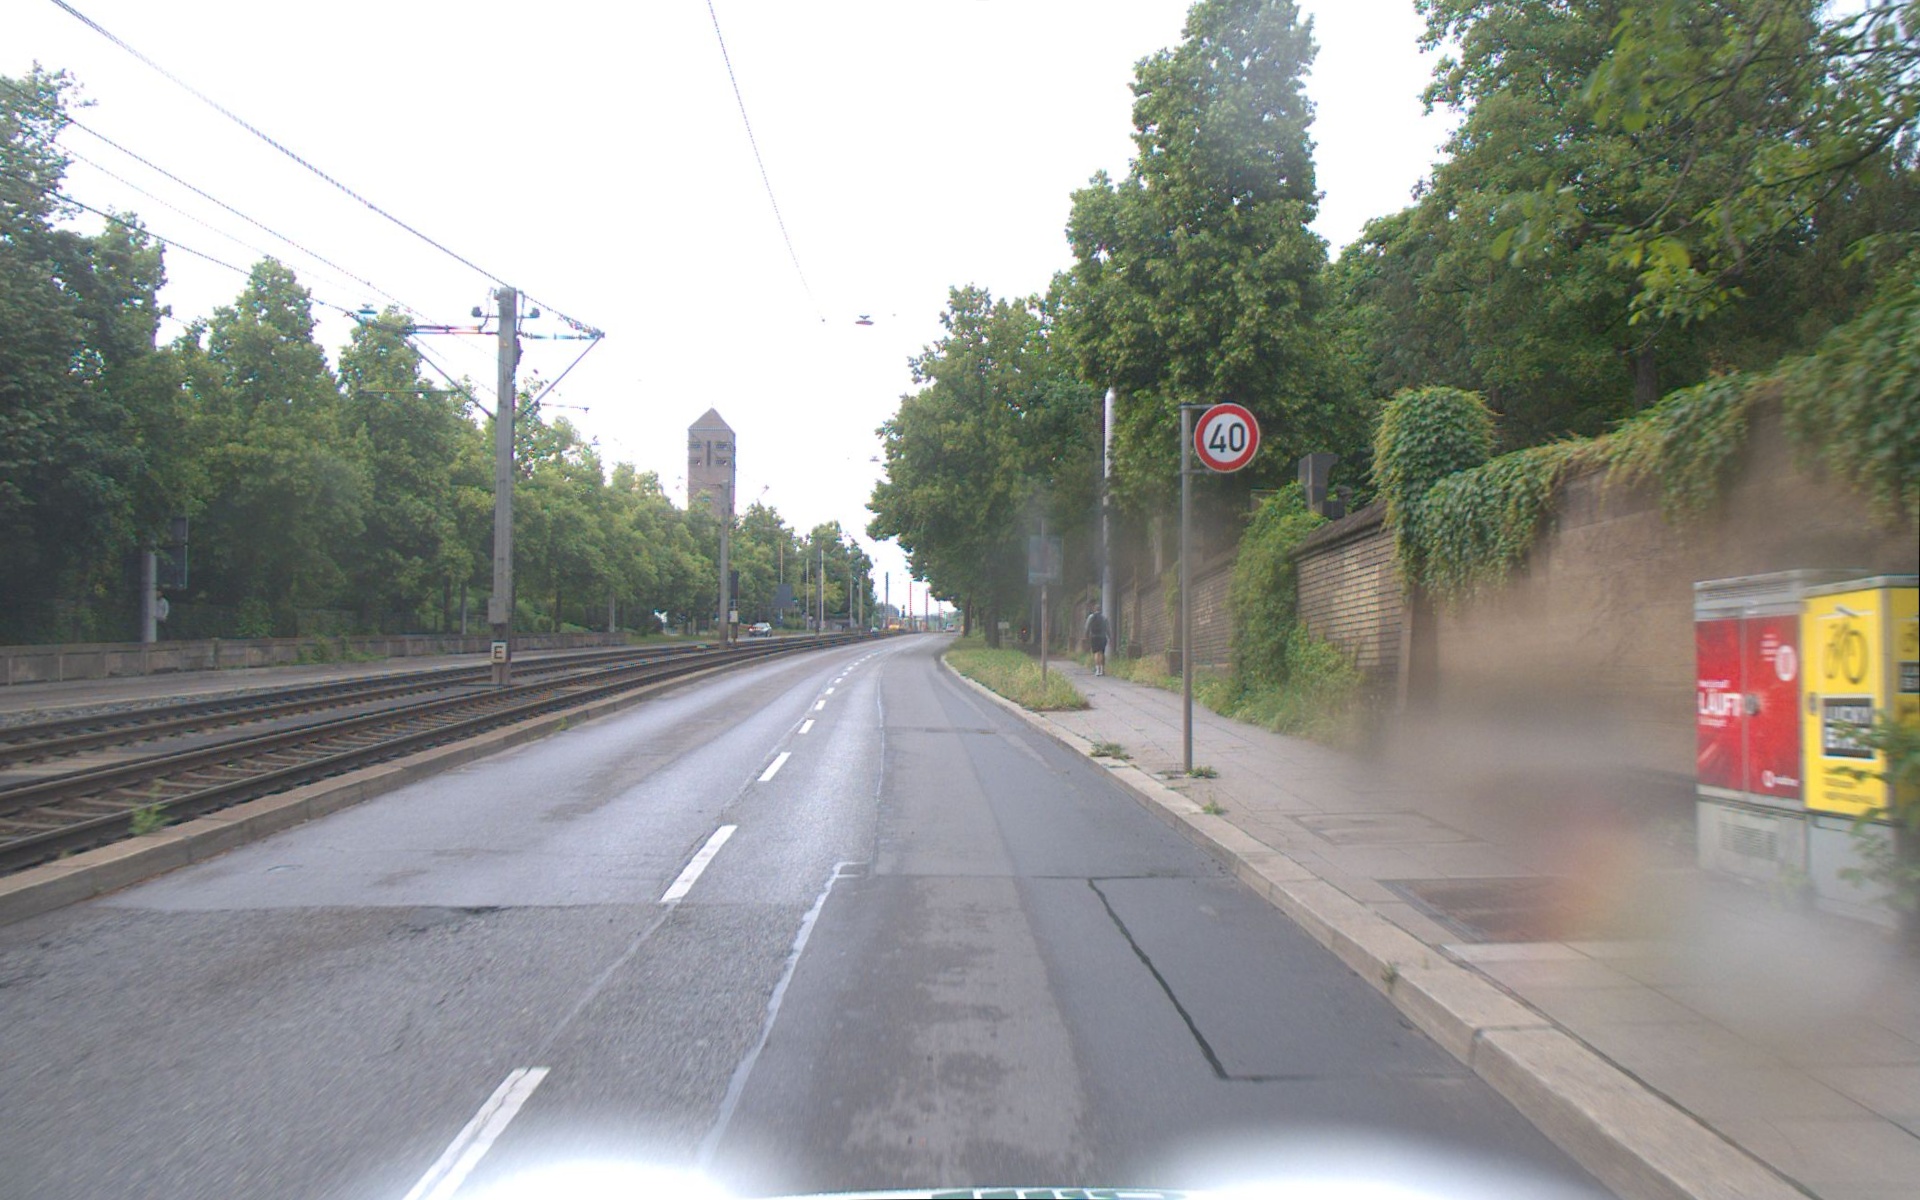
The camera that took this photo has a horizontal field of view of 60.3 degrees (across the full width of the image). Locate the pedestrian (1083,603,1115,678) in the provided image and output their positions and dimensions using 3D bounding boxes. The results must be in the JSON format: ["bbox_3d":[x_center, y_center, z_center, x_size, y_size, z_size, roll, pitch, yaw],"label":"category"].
[{"bbox_3d":[3.540,1.030,42.186,0.705,1.882,0.783,1,-1,0],"label":"pedestrian"}]

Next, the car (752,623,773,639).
[{"bbox_3d":[-20.470,3.218,171.730,1.757,1.537,3.848,0,0,0],"label":"car"}]

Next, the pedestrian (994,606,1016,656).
[{"bbox_3d":[1.570,1.079,57.690,0.705,1.717,0.729,1,-1,0],"label":"pedestrian"}]

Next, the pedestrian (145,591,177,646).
[{"bbox_3d":[-24.899,0.579,51.555,0.635,1.690,0.650,-2,0,0],"label":"pedestrian"}]
